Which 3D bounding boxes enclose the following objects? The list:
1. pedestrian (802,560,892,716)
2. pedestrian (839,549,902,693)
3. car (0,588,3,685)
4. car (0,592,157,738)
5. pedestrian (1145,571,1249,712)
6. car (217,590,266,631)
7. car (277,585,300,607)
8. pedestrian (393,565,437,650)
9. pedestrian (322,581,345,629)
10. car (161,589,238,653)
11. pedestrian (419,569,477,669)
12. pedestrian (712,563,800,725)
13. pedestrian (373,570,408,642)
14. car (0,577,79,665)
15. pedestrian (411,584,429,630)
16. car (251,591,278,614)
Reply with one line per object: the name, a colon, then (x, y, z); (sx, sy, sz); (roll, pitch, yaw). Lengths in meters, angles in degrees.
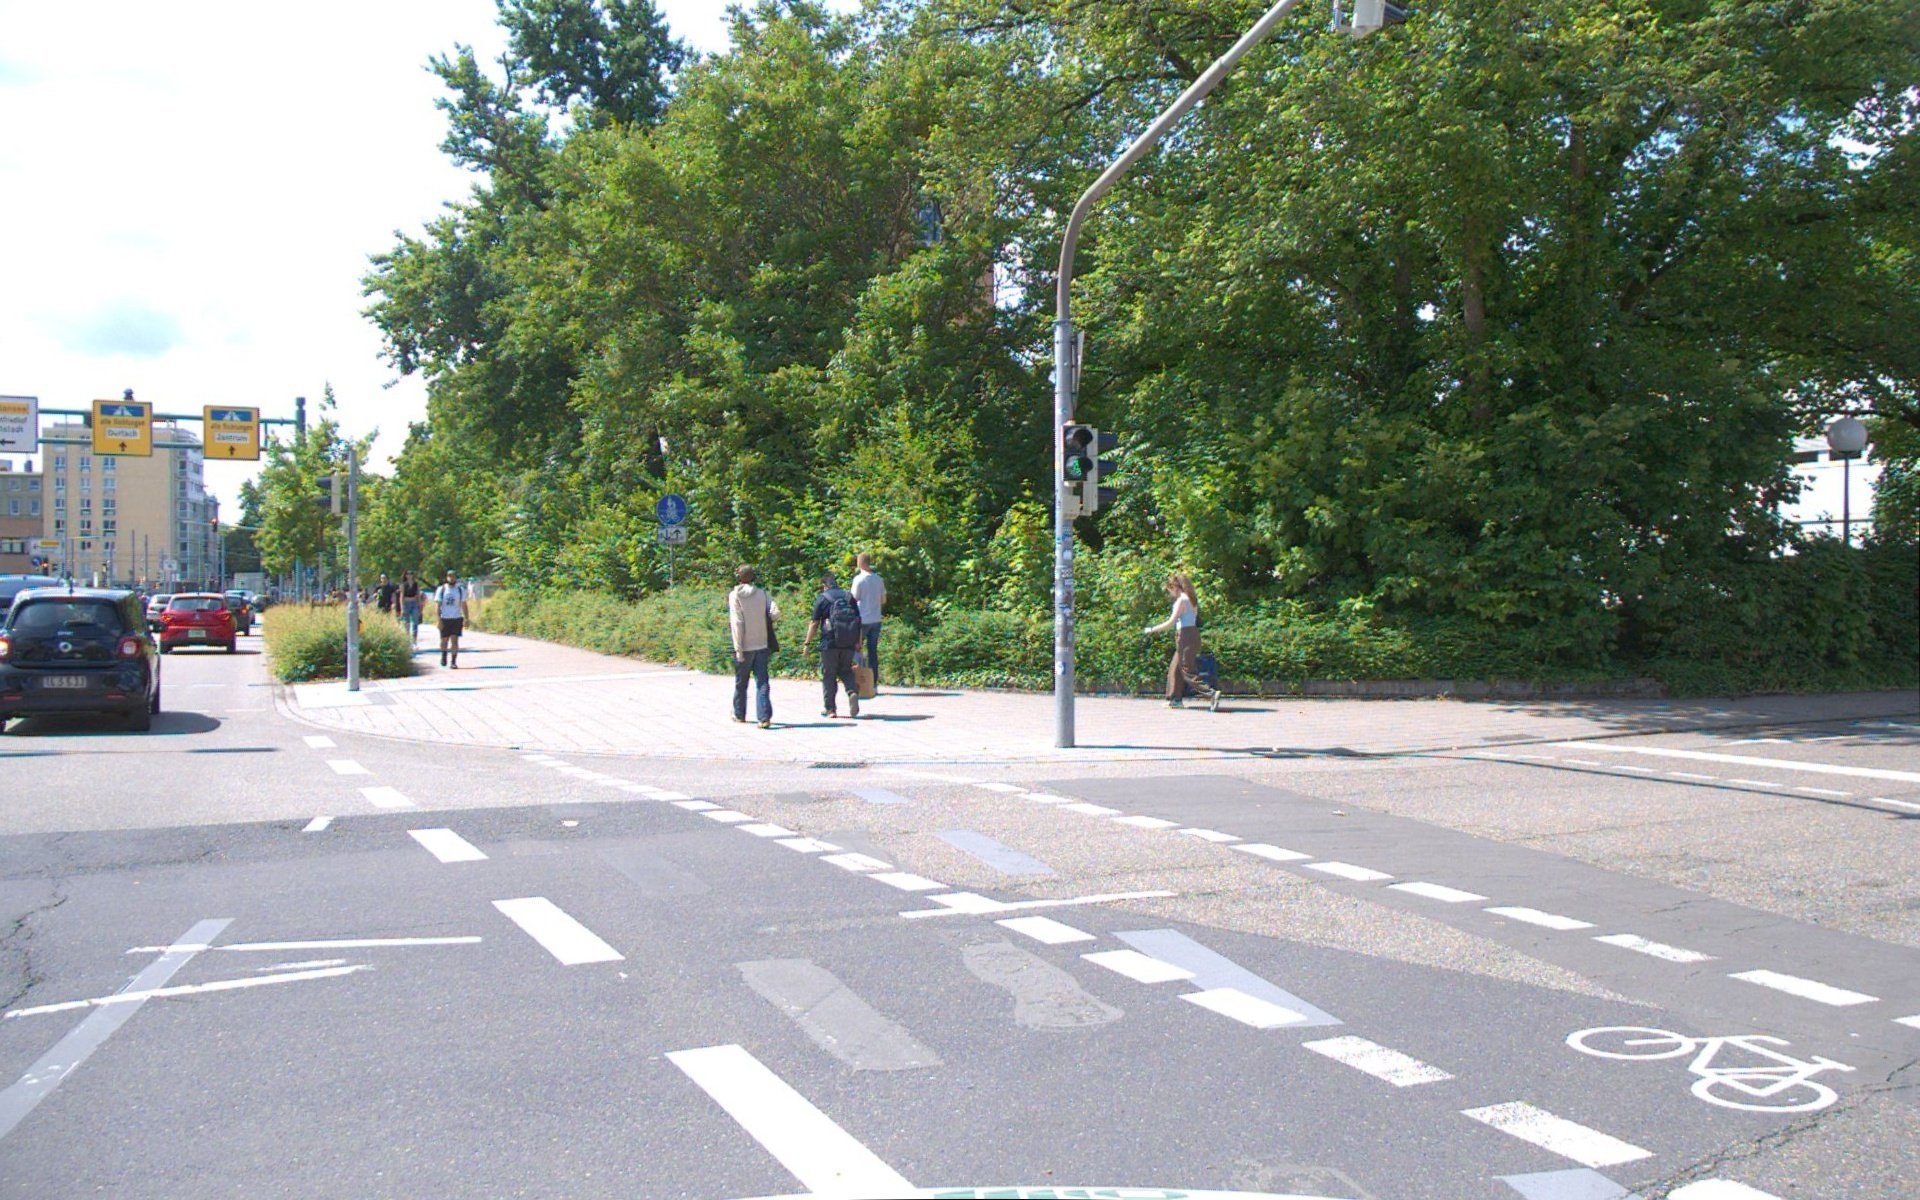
pedestrian: (-1.319, 0.413, 19.096); (0.782, 1.734, 1.177); (1, 1, -17)
pedestrian: (-1.181, 0.267, 21.686); (0.660, 1.852, 0.700); (1, 1, -18)
car: (-15.199, 0.567, 23.845); (1.992, 1.557, 4.847); (1, 0, -25)
car: (-10.141, 0.674, 18.951); (1.590, 1.511, 3.490); (1, 0, -25)
pedestrian: (2.903, 0.483, 20.282); (0.999, 1.654, 0.855); (1, 2, 34)
car: (-26.819, 0.379, 61.695); (1.591, 1.436, 3.490); (2, 0, -25)
car: (-64.945, -0.375, 159.946); (1.916, 1.998, 3.925); (2, -1, -21)
pedestrian: (-12.404, 0.166, 37.620); (0.828, 1.901, 1.010); (0, 0, -27)
pedestrian: (-26.617, 0.196, 70.278); (0.828, 2.003, 0.853); (0, 0, -27)
car: (-18.454, 0.494, 40.152); (1.591, 1.436, 3.490); (2, 0, -25)
pedestrian: (-9.155, 0.334, 29.552); (0.840, 1.730, 0.924); (-2, 0, -25)
pedestrian: (-2.279, 0.463, 18.383); (0.782, 1.734, 1.177); (1, 1, -17)
pedestrian: (-15.893, 0.160, 46.116); (0.828, 2.003, 0.853); (0, 0, -27)
car: (-18.650, 0.382, 32.790); (1.804, 1.629, 4.359); (1, 0, -25)
pedestrian: (-23.053, 0.302, 70.599); (0.551, 1.924, 0.500); (0, -1, 43)
car: (-53.483, 0.212, 127.248); (1.711, 1.693, 3.925); (2, -1, -21)
